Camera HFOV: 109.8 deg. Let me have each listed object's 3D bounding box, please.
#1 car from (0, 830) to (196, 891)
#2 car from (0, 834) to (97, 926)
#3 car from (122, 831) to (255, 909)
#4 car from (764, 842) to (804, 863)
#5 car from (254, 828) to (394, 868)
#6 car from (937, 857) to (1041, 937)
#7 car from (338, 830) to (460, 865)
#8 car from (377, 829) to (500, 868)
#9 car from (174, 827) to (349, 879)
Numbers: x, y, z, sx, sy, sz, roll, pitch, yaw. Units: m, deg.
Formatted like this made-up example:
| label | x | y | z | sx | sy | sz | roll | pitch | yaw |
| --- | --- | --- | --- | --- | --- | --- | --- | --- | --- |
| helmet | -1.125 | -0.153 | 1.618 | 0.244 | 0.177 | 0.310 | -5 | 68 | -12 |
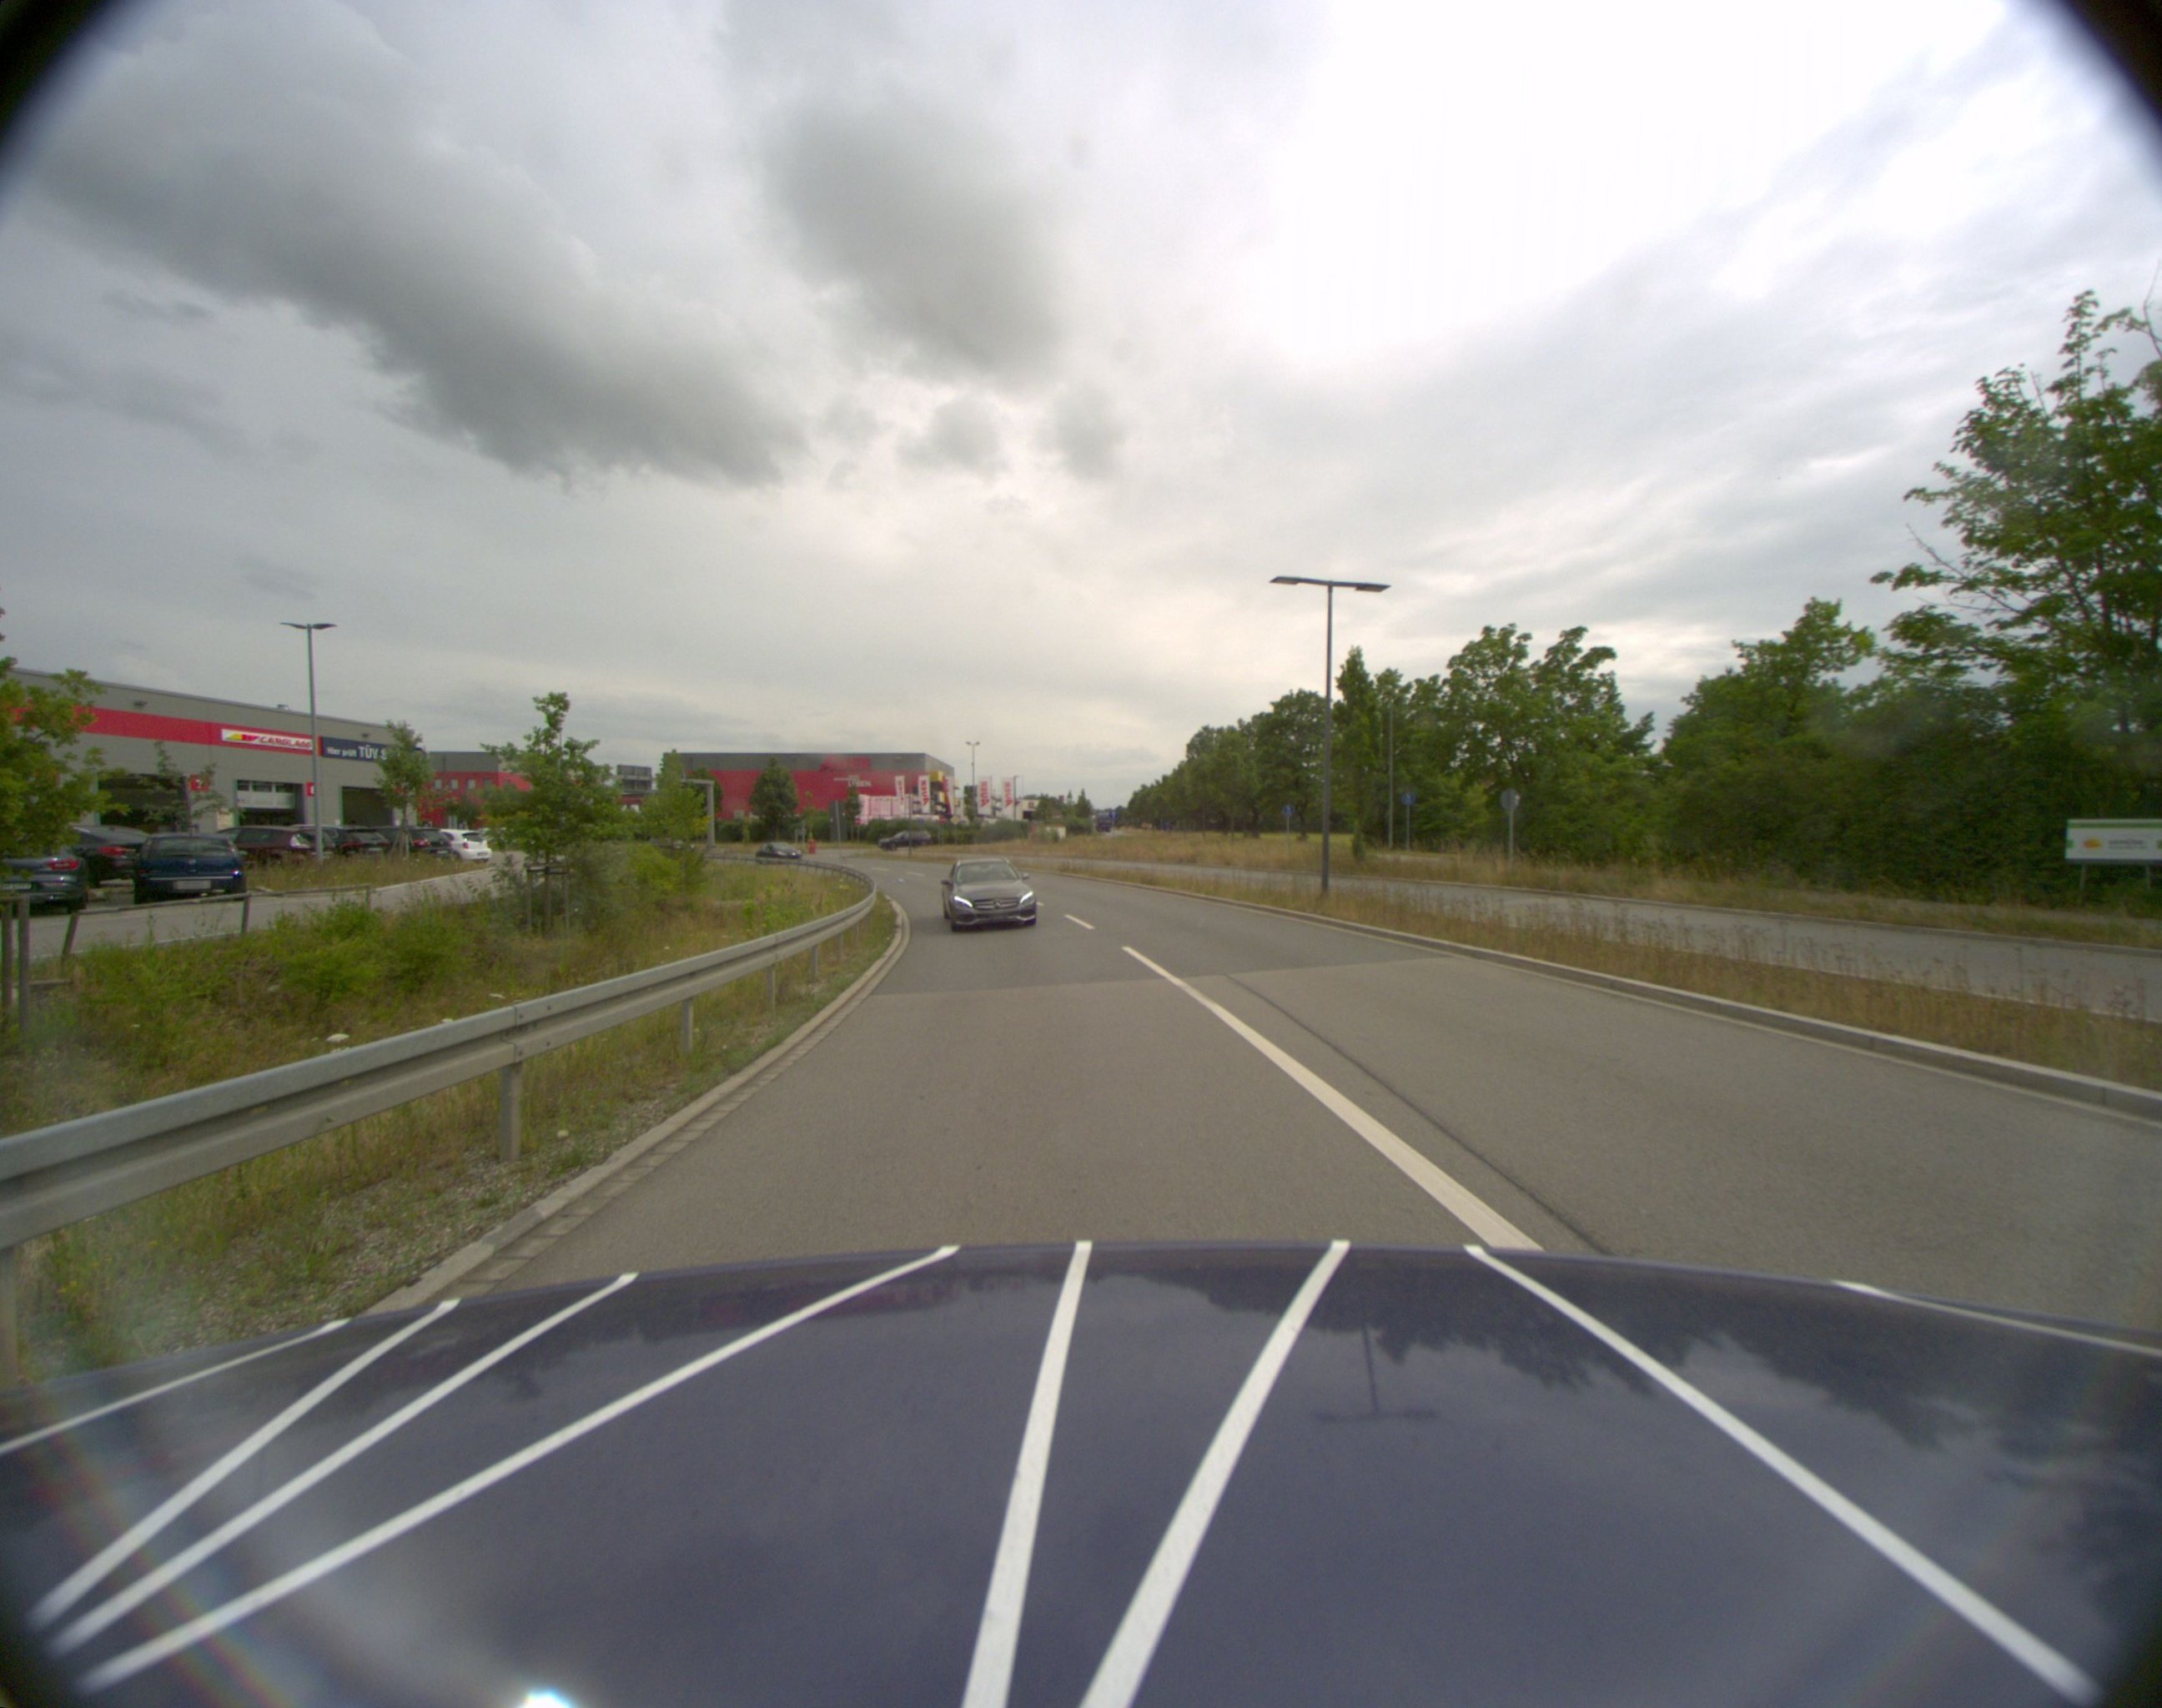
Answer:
| label | x | y | z | sx | sy | sz | roll | pitch | yaw |
| --- | --- | --- | --- | --- | --- | --- | --- | --- | --- |
| car | -26.447 | 0.133 | 20.177 | 3.698 | 1.536 | 1.589 | -1 | 2 | -5 |
| car | -21.584 | 0.452 | 15.402 | 4.064 | 1.613 | 1.833 | 3 | 2 | 35 |
| car | -21.610 | 0.316 | 18.362 | 4.064 | 1.613 | 1.740 | 3 | 2 | 35 |
| car | -20.895 | -0.125 | 53.433 | 1.768 | 1.310 | 3.948 | -3 | 3 | -34 |
| car | -27.116 | -0.241 | 27.308 | 3.322 | 1.316 | 1.480 | -2 | 2 | -5 |
| car | -2.227 | 0.869 | 17.393 | 1.766 | 1.412 | 4.085 | -3 | 2 | -15 |
| car | -26.923 | -0.278 | 30.070 | 3.322 | 1.316 | 1.480 | -1 | 2 | -5 |
| car | -27.527 | -0.257 | 32.656 | 3.698 | 1.536 | 1.589 | -2 | 2 | -5 |
| car | -26.776 | -0.053 | 24.927 | 3.698 | 1.536 | 1.589 | -2 | 2 | -5 |
